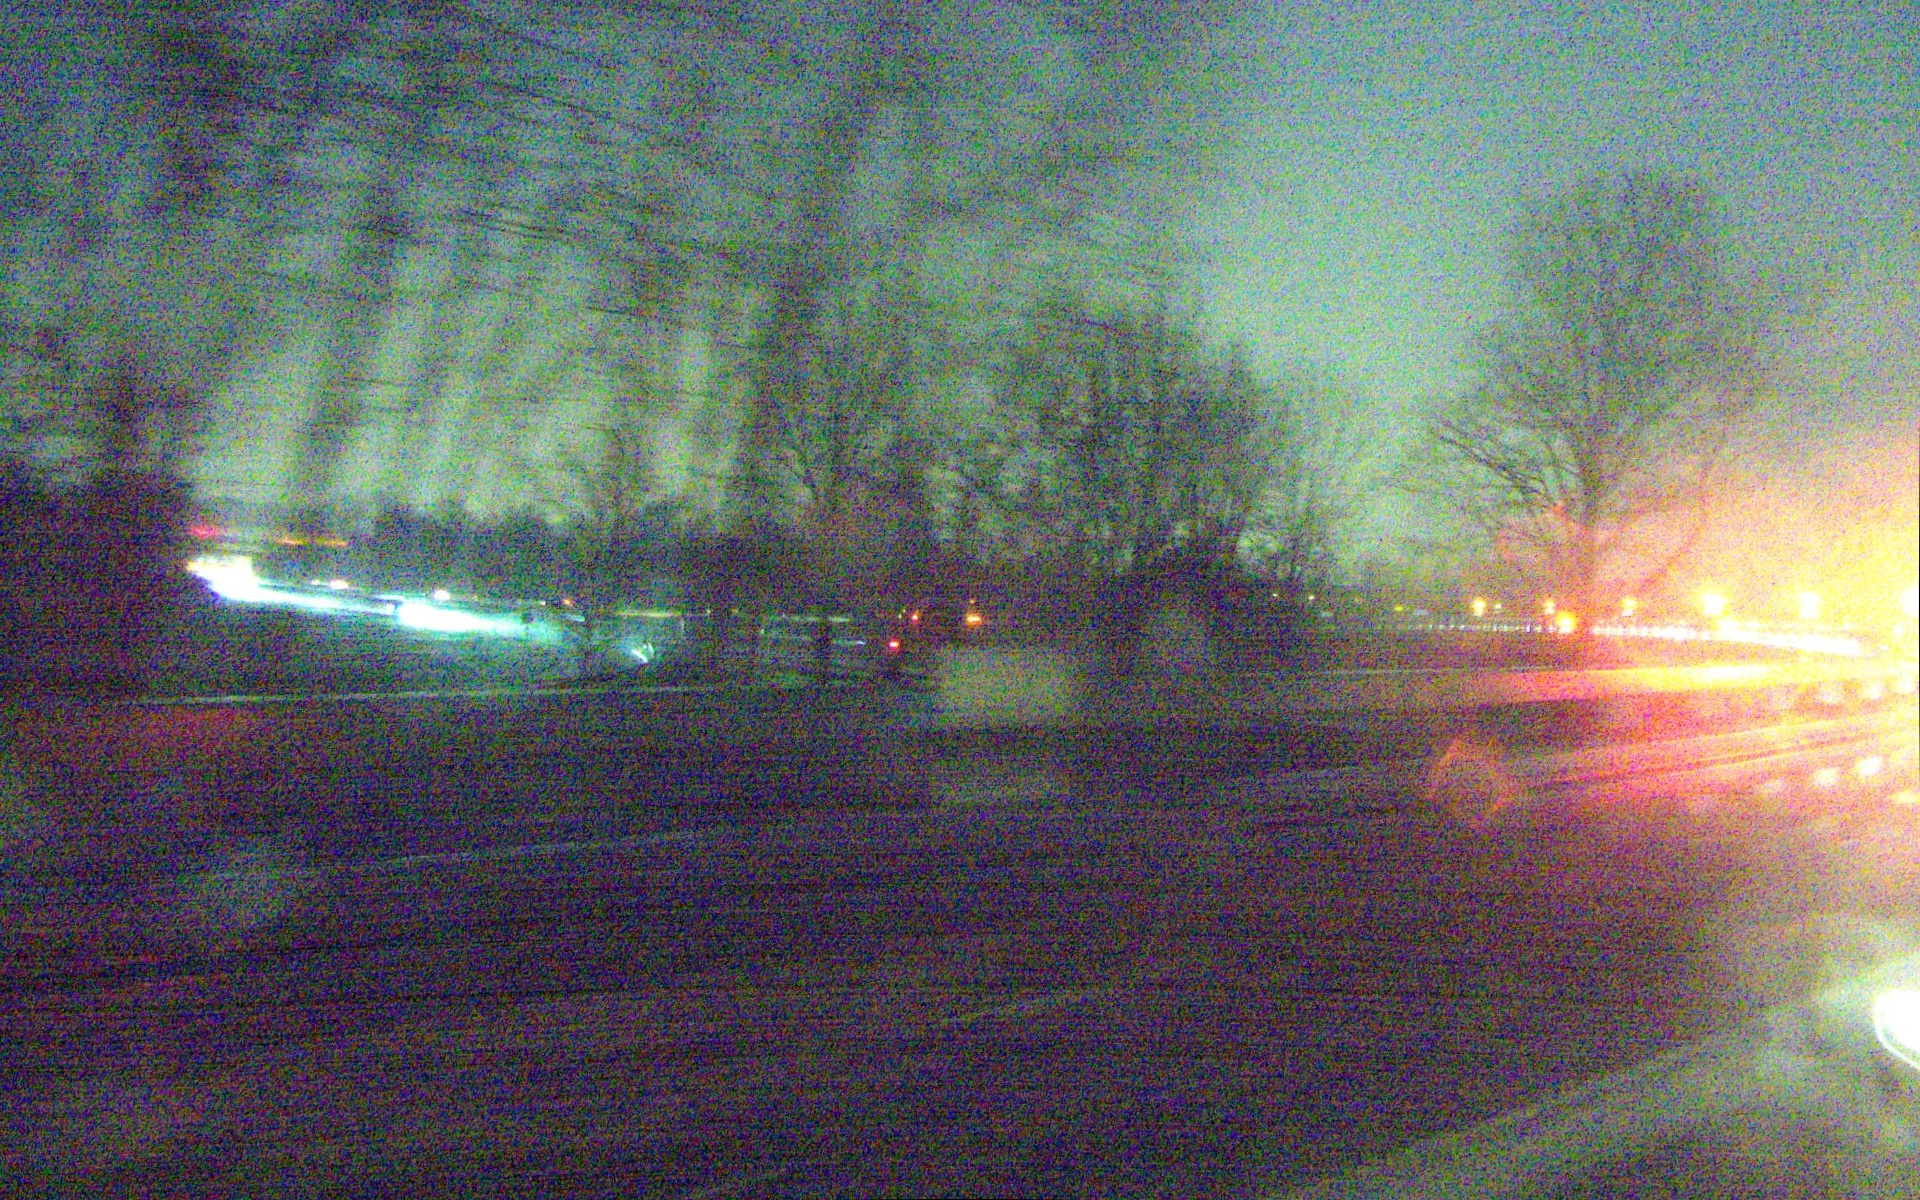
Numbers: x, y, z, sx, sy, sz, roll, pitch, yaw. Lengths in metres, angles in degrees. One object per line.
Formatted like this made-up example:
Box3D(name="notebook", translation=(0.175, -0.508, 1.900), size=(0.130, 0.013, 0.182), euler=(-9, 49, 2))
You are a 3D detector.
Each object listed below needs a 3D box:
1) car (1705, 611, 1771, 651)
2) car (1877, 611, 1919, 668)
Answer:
Box3D(name="car", translation=(40.328, 1.593, 52.185), size=(1.866, 2.024, 4.041), euler=(-1, -1, 26))
Box3D(name="car", translation=(36.896, 1.478, 38.463), size=(1.868, 2.067, 4.036), euler=(1, 0, 32))
